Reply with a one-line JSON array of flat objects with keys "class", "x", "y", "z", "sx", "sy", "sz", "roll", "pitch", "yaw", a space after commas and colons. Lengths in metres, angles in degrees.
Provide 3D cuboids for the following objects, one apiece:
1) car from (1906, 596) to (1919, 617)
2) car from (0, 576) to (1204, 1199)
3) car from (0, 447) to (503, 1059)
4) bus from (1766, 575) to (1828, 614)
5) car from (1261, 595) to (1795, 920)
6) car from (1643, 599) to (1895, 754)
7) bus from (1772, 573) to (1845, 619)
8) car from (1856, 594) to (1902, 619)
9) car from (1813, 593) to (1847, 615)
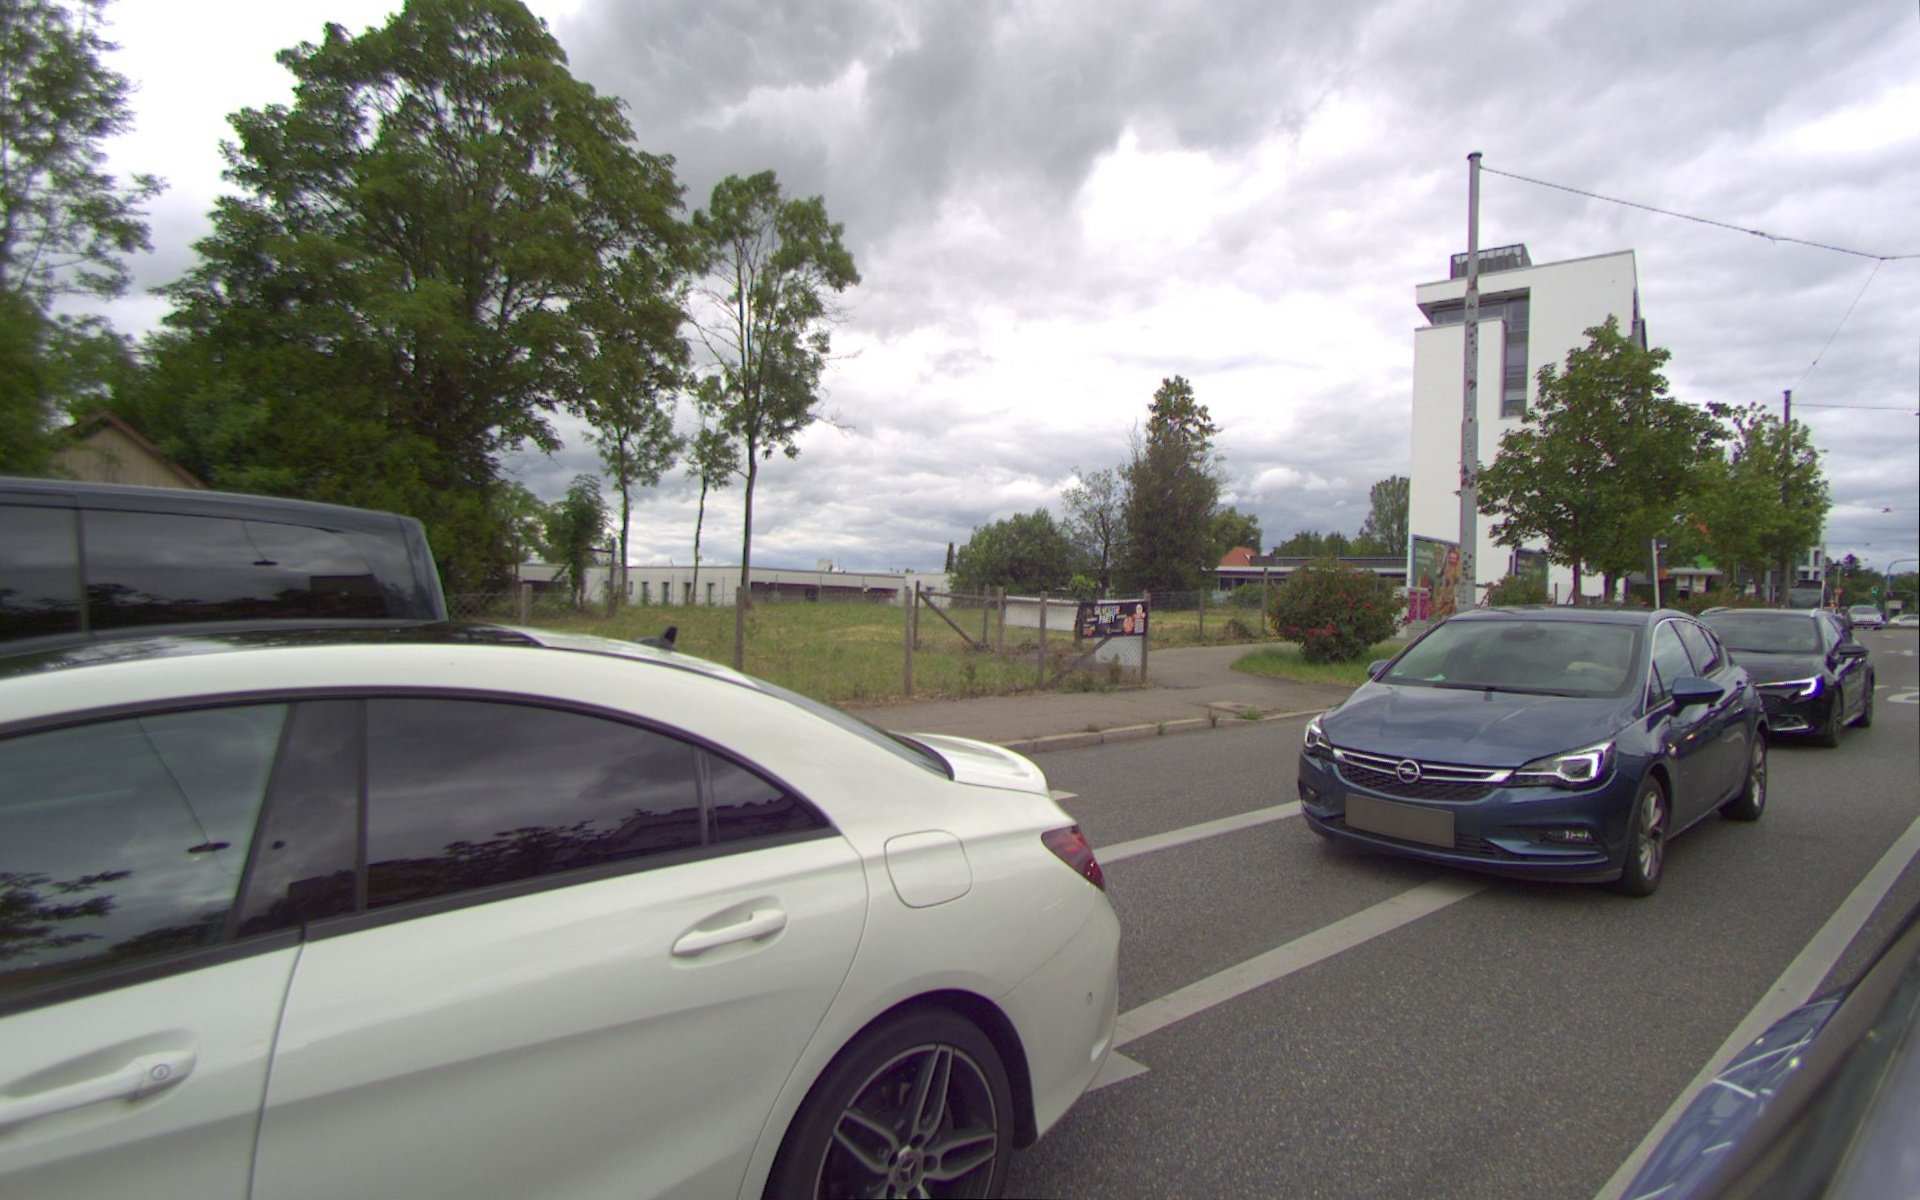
[{"class": "car", "x": 89.439, "y": 0.646, "z": 92.355, "sx": 3.952, "sy": 1.844, "sz": 1.986, "roll": 1, "pitch": 1, "yaw": 21}, {"class": "car", "x": -1.545, "y": 0.694, "z": 1.812, "sx": 4.300, "sy": 1.451, "sz": 1.652, "roll": 0, "pitch": 1, "yaw": -41}, {"class": "car", "x": -4.200, "y": 0.472, "z": 3.268, "sx": 4.627, "sy": 1.863, "sz": 1.952, "roll": 0, "pitch": -1, "yaw": -41}, {"class": "bus", "x": 61.414, "y": -0.444, "z": 74.471, "sx": 2.952, "sy": 2.664, "sz": 12.751, "roll": 0, "pitch": 1, "yaw": 37}, {"class": "car", "x": 3.802, "y": 0.690, "z": 6.479, "sx": 3.931, "sy": 1.428, "sz": 1.825, "roll": 0, "pitch": 0, "yaw": -42}, {"class": "car", "x": 9.370, "y": 0.730, "z": 11.614, "sx": 3.854, "sy": 1.475, "sz": 1.663, "roll": 0, "pitch": 0, "yaw": -42}, {"class": "bus", "x": 53.947, "y": -0.311, "z": 64.571, "sx": 2.952, "sy": 2.664, "sz": 11.986, "roll": 0, "pitch": 1, "yaw": 37}, {"class": "car", "x": 61.036, "y": 0.443, "z": 67.272, "sx": 1.841, "sy": 1.637, "sz": 3.734, "roll": -1, "pitch": -1, "yaw": 36}, {"class": "car", "x": 77.143, "y": 0.375, "z": 89.793, "sx": 1.841, "sy": 1.910, "sz": 4.083, "roll": -1, "pitch": -1, "yaw": 35}]
